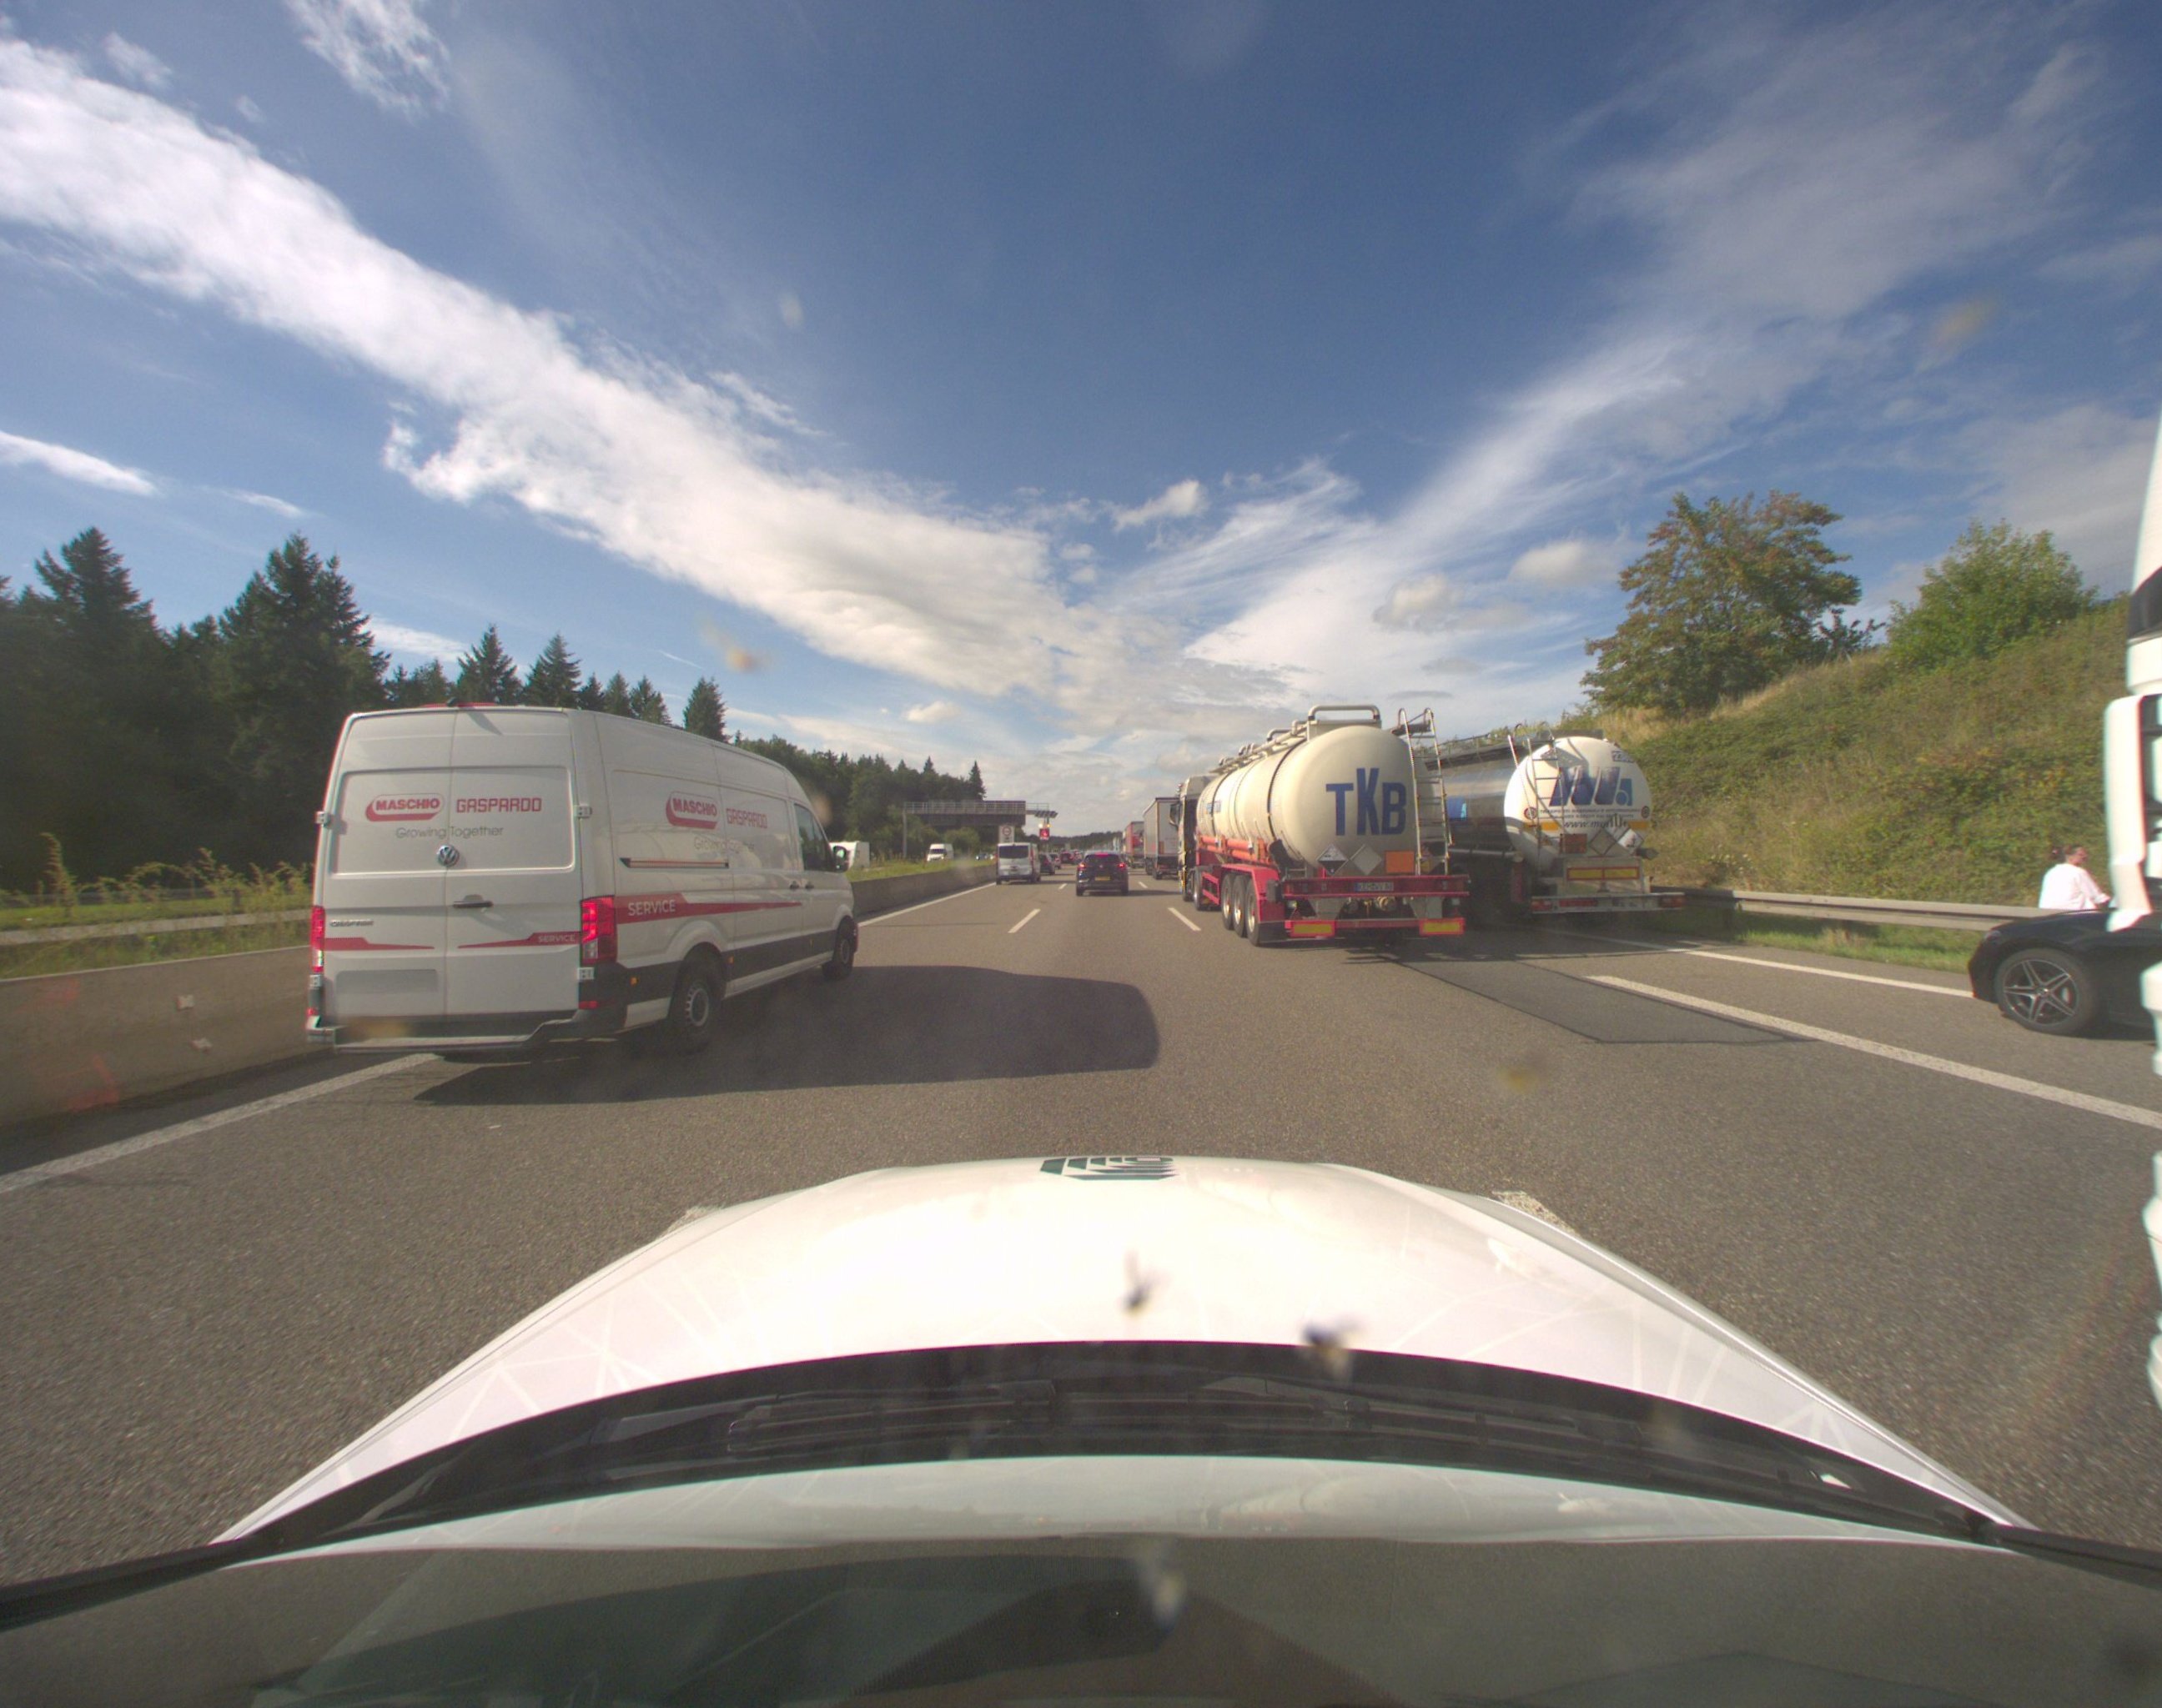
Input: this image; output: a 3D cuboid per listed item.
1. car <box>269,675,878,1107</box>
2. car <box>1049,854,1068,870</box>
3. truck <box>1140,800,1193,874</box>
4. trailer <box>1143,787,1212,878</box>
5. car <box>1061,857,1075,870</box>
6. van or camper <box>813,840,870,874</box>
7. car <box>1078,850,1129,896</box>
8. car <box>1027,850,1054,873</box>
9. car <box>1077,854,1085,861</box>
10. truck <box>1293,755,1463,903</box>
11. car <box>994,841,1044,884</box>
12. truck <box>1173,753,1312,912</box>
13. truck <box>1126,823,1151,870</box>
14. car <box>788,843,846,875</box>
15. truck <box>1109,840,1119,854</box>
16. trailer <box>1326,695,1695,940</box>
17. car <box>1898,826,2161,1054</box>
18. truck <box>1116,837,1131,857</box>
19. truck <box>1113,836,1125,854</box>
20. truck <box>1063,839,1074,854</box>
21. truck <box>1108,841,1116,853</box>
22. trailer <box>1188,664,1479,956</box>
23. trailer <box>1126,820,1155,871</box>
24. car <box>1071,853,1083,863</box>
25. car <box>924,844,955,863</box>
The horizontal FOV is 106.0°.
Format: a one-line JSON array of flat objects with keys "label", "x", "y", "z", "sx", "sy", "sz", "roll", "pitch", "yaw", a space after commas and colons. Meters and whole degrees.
[{"label": "car", "x": -3.881, "y": 0.234, "z": 8.073, "sx": 2.008, "sy": 2.599, "sz": 6.183, "roll": -1, "pitch": 0, "yaw": 1}, {"label": "car", "x": -1.986, "y": 0.707, "z": 73.307, "sx": 1.494, "sy": 1.396, "sz": 3.477, "roll": 2, "pitch": 0, "yaw": 1}, {"label": "truck", "x": 5.224, "y": -0.974, "z": 50.643, "sx": 2.775, "sy": 4.247, "sz": 6.463, "roll": -1, "pitch": 0, "yaw": 2}, {"label": "trailer", "x": 4.980, "y": -0.983, "z": 44.070, "sx": 2.791, "sy": 4.244, "sz": 11.062, "roll": -1, "pitch": 0, "yaw": 2}, {"label": "car", "x": -1.487, "y": 1.072, "z": 93.549, "sx": 1.430, "sy": 1.310, "sz": 3.534, "roll": 2, "pitch": 0, "yaw": 1}, {"label": "van or camper", "x": -17.944, "y": 0.196, "z": 61.333, "sx": 2.450, "sy": 2.414, "sz": 5.853, "roll": -1, "pitch": 0, "yaw": 1}, {"label": "car", "x": 0.808, "y": 0.626, "z": 29.081, "sx": 1.690, "sy": 1.483, "sz": 4.161, "roll": 0, "pitch": 1, "yaw": 1}, {"label": "car", "x": -2.605, "y": 0.456, "z": 53.047, "sx": 1.494, "sy": 1.396, "sz": 3.477, "roll": -2, "pitch": 0, "yaw": 1}, {"label": "car", "x": 0.018, "y": 0.612, "z": 150.749, "sx": 1.356, "sy": 1.159, "sz": 3.085, "roll": -1, "pitch": 0, "yaw": 1}, {"label": "truck", "x": 8.190, "y": -0.596, "z": 23.434, "sx": 2.520, "sy": 3.573, "sz": 6.778, "roll": -2, "pitch": 0, "yaw": 2}, {"label": "car", "x": -3.023, "y": 0.401, "z": 40.654, "sx": 1.926, "sy": 1.979, "sz": 5.100, "roll": 2, "pitch": 0, "yaw": 1}, {"label": "truck", "x": 4.075, "y": -0.493, "z": 21.970, "sx": 2.524, "sy": 3.584, "sz": 6.731, "roll": -1, "pitch": 0, "yaw": 1}, {"label": "truck", "x": 5.424, "y": -0.680, "z": 77.572, "sx": 2.126, "sy": 4.282, "sz": 6.341, "roll": -1, "pitch": 0, "yaw": 2}, {"label": "car", "x": -18.018, "y": 0.307, "z": 55.759, "sx": 2.232, "sy": 2.057, "sz": 5.083, "roll": -1, "pitch": 0, "yaw": 1}, {"label": "truck", "x": 7.742, "y": -1.638, "z": 191.336, "sx": 1.986, "sy": 3.052, "sz": 4.984, "roll": 2, "pitch": 0, "yaw": 2}, {"label": "trailer", "x": 8.006, "y": -0.528, "z": 17.465, "sx": 2.532, "sy": 3.598, "sz": 10.630, "roll": -1, "pitch": 0, "yaw": 2}, {"label": "car", "x": 8.114, "y": 0.559, "z": 4.797, "sx": 1.893, "sy": 1.513, "sz": 4.738, "roll": -1, "pitch": 0, "yaw": 1}, {"label": "truck", "x": 6.276, "y": -1.023, "z": 120.627, "sx": 1.986, "sy": 2.932, "sz": 4.984, "roll": 2, "pitch": 0, "yaw": 2}, {"label": "truck", "x": 6.829, "y": -1.600, "z": 145.809, "sx": 1.986, "sy": 3.052, "sz": 4.984, "roll": 2, "pitch": 0, "yaw": 2}, {"label": "truck", "x": -3.180, "y": -1.792, "z": 205.793, "sx": 2.335, "sy": 3.594, "sz": 6.307, "roll": 2, "pitch": 0, "yaw": 1}, {"label": "truck", "x": 8.276, "y": -1.866, "z": 218.022, "sx": 1.986, "sy": 3.052, "sz": 4.984, "roll": 2, "pitch": 0, "yaw": 2}, {"label": "trailer", "x": 3.890, "y": -0.539, "z": 15.620, "sx": 2.532, "sy": 3.654, "sz": 10.630, "roll": -1, "pitch": 0, "yaw": 2}, {"label": "trailer", "x": 5.197, "y": -0.713, "z": 72.016, "sx": 2.141, "sy": 4.259, "sz": 8.444, "roll": -1, "pitch": 0, "yaw": 2}, {"label": "car", "x": -0.530, "y": 0.562, "z": 112.617, "sx": 1.430, "sy": 1.310, "sz": 3.534, "roll": 2, "pitch": 0, "yaw": 1}, {"label": "car", "x": -16.720, "y": -0.054, "z": 96.607, "sx": 2.308, "sy": 2.193, "sz": 6.864, "roll": 2, "pitch": 0, "yaw": 1}]
